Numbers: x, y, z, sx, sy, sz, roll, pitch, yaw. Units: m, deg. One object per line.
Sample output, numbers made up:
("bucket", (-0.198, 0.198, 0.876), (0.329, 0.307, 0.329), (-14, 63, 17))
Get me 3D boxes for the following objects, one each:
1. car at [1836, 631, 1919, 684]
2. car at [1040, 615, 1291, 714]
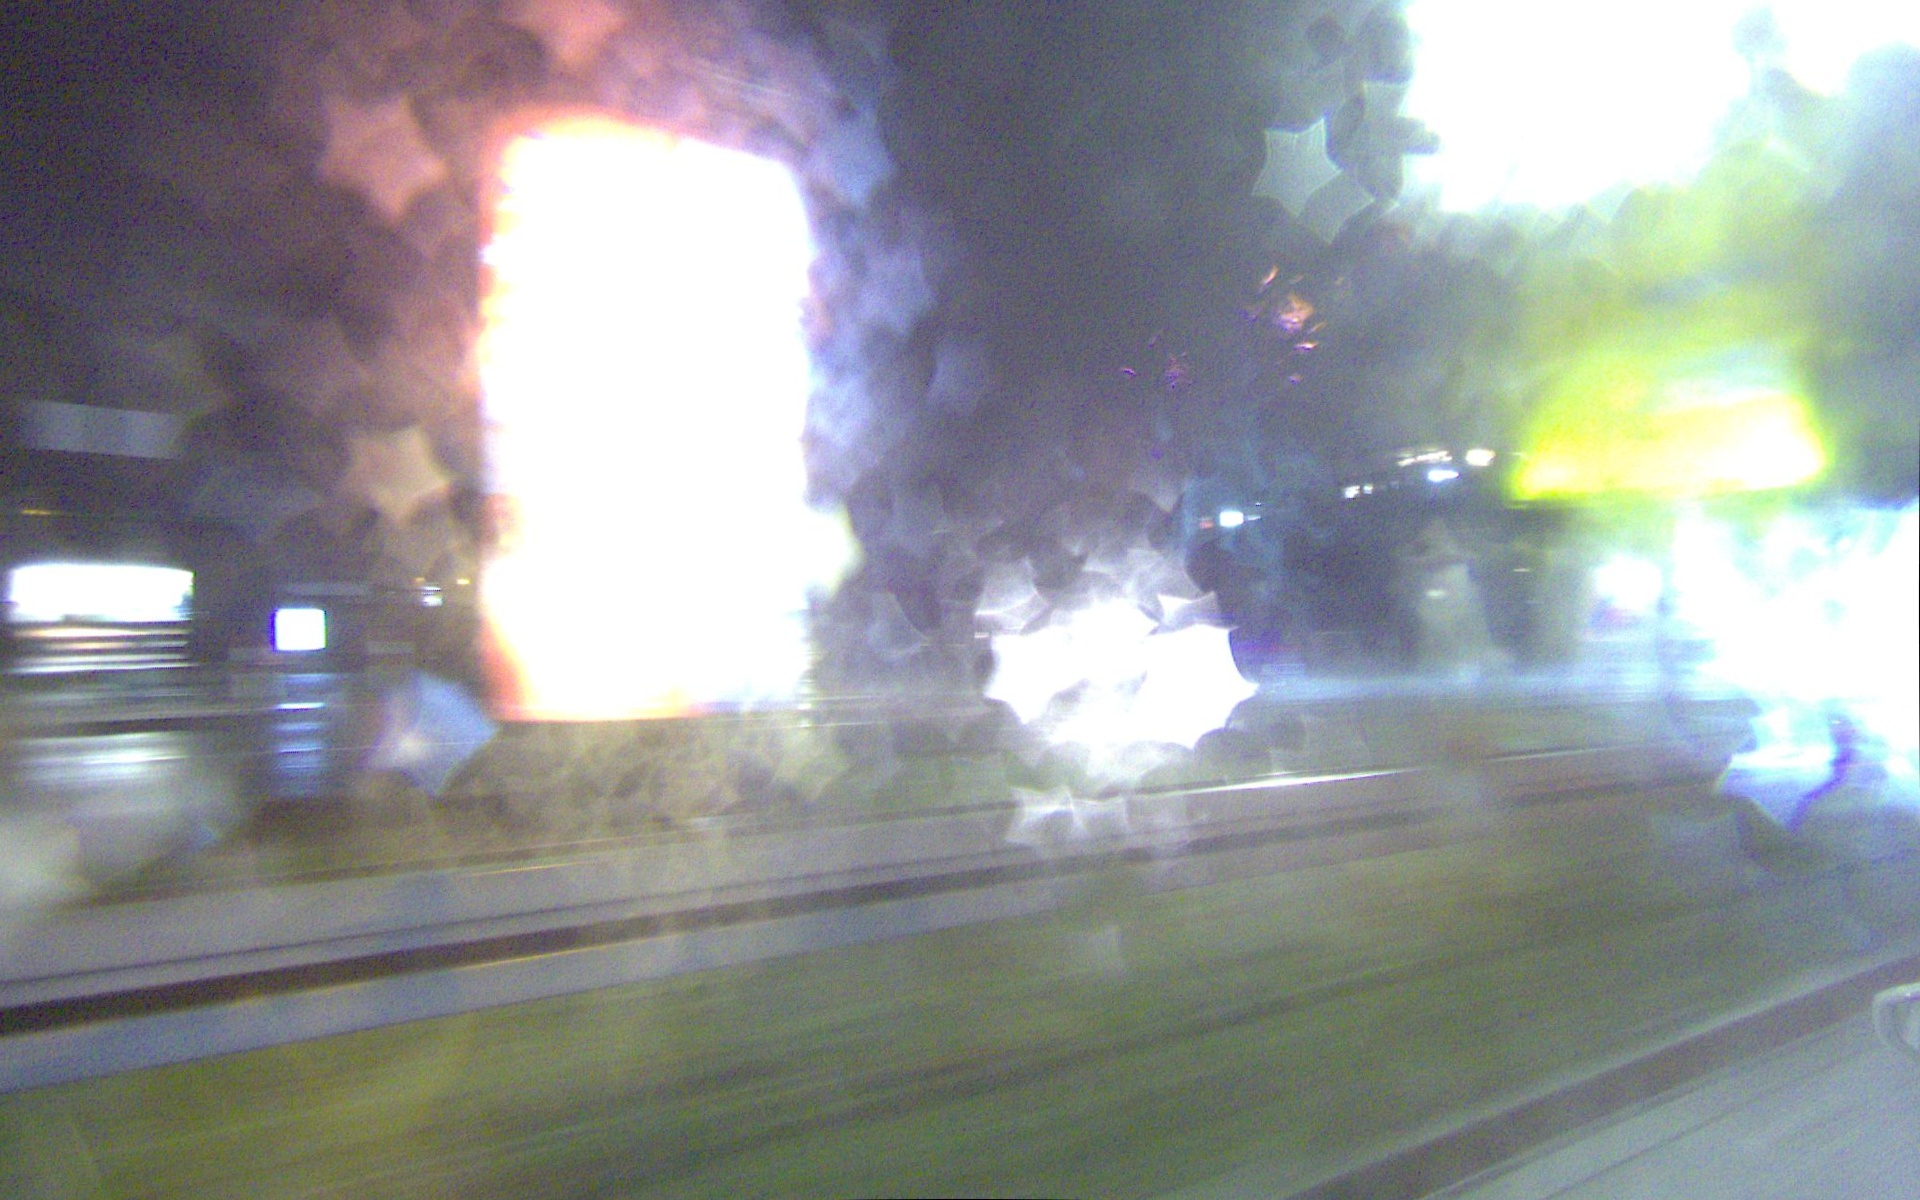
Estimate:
("car", (25.458, 1.481, 26.596), (4.073, 1.305, 1.850), (0, -1, -24))
("car", (3.354, 0.984, 16.286), (3.902, 1.446, 1.561), (1, -1, -28))
